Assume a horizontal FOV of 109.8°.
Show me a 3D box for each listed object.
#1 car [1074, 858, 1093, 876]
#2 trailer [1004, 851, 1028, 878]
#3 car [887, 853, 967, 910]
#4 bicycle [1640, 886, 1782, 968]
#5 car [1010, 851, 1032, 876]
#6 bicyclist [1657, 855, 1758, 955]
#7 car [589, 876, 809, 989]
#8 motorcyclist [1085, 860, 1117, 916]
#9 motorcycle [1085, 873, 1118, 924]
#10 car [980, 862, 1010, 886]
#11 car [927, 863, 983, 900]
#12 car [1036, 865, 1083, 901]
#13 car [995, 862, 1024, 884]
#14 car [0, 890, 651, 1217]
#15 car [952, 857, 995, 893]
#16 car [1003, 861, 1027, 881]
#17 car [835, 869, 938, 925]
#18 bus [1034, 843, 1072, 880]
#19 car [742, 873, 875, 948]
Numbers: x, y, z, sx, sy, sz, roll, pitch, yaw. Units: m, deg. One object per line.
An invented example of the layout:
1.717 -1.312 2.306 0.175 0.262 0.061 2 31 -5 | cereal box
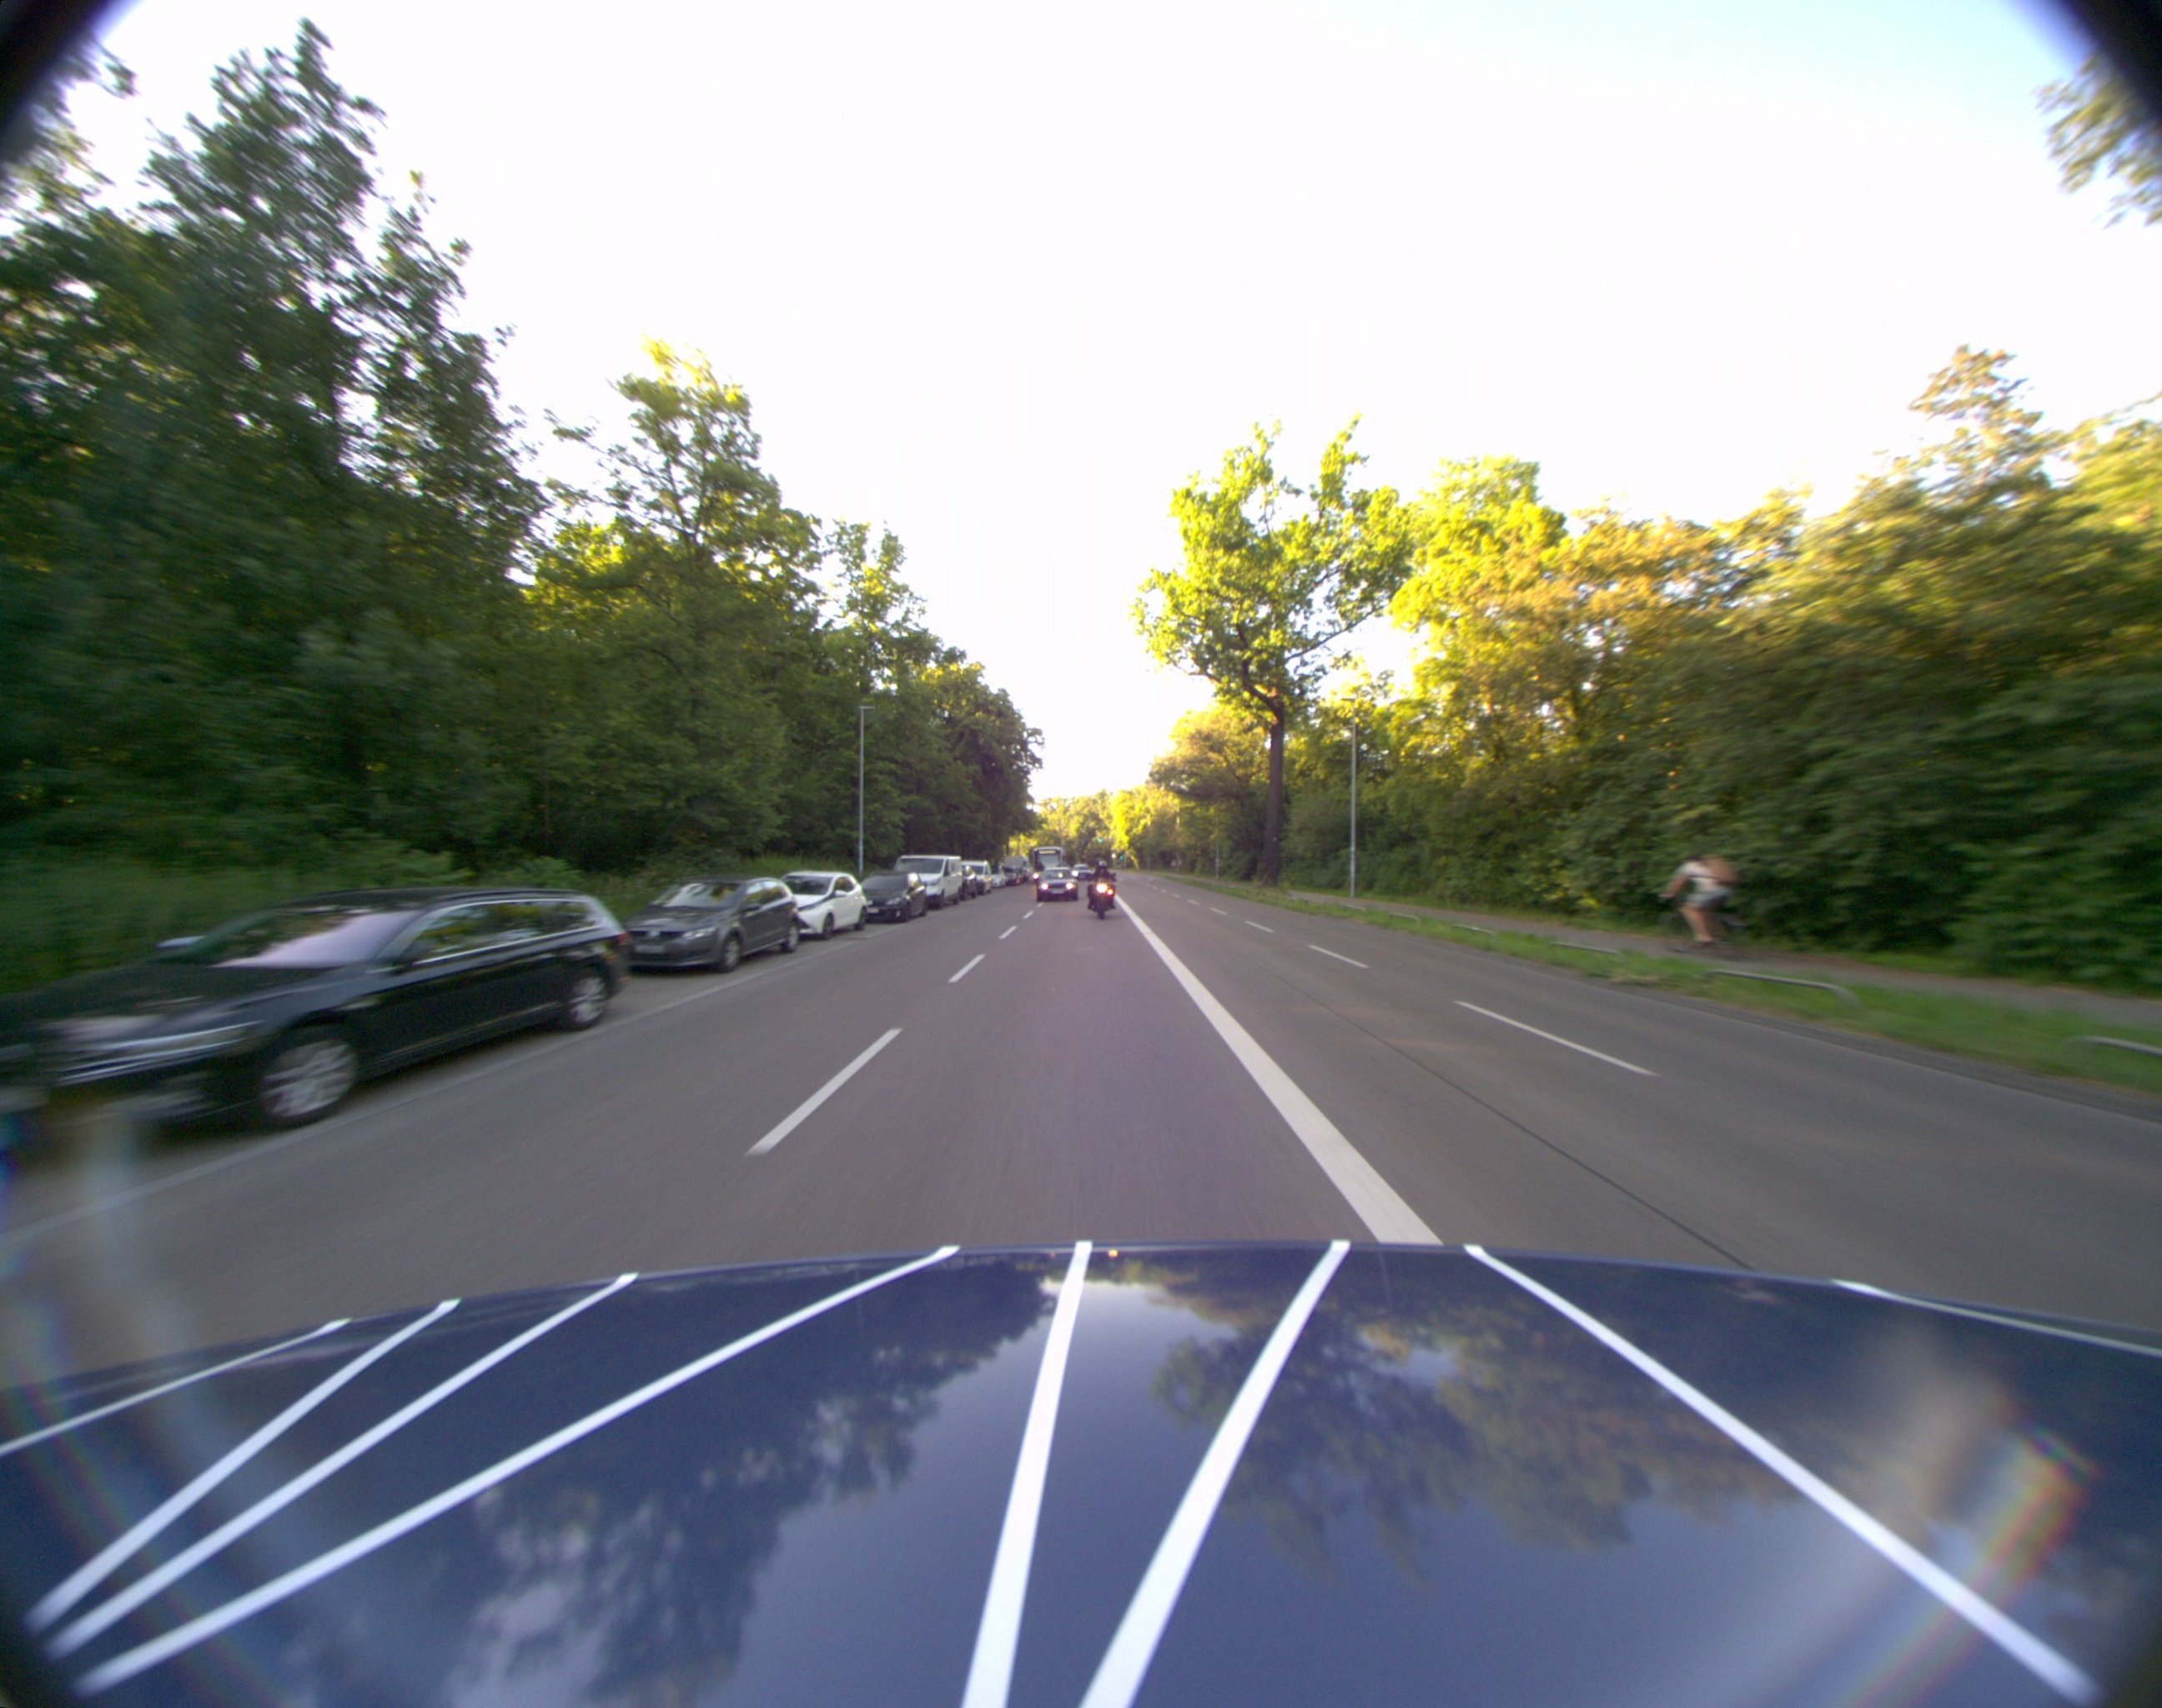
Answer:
0.301 1.194 71.570 1.678 1.552 3.994 -1 0 1 | car
-5.978 0.936 70.381 1.909 2.409 5.125 1 0 -1 | trailer
-5.773 0.955 29.144 1.873 1.969 5.475 1 0 1 | car
10.387 1.155 12.639 0.714 1.140 1.993 -1 1 0 | bicycle
-6.023 0.961 77.165 1.909 2.409 5.575 1 0 -1 | car
10.378 0.809 12.630 0.714 1.550 1.142 -1 1 0 | bicyclist
-6.069 1.159 12.638 1.589 1.445 3.943 1 0 1 | car
0.539 0.911 20.740 0.830 1.484 1.024 -1 0 0 | motorcyclist
0.536 1.170 20.743 0.830 1.211 2.603 -1 0 0 | motorcycle
-5.855 1.348 52.025 1.589 1.486 3.180 1 0 2 | car
-5.795 1.247 35.429 1.763 1.538 4.429 1 0 1 | car
-0.869 1.223 32.780 1.678 1.351 3.995 -1 0 2 | car
-5.426 1.390 58.242 1.763 1.526 4.988 1 0 -1 | car
-5.793 1.152 6.382 1.641 1.445 4.897 1 0 -1 | car
-5.819 1.083 41.699 1.763 1.793 4.736 1 0 -1 | car
-5.539 1.414 64.208 1.682 1.526 4.352 1 0 -1 | car
-5.662 1.204 22.663 1.873 1.398 4.369 1 0 1 | car
-2.450 0.645 69.984 2.812 3.030 12.886 -1 0 1 | bus
-6.151 1.214 17.595 1.589 1.445 3.798 1 0 2 | car
